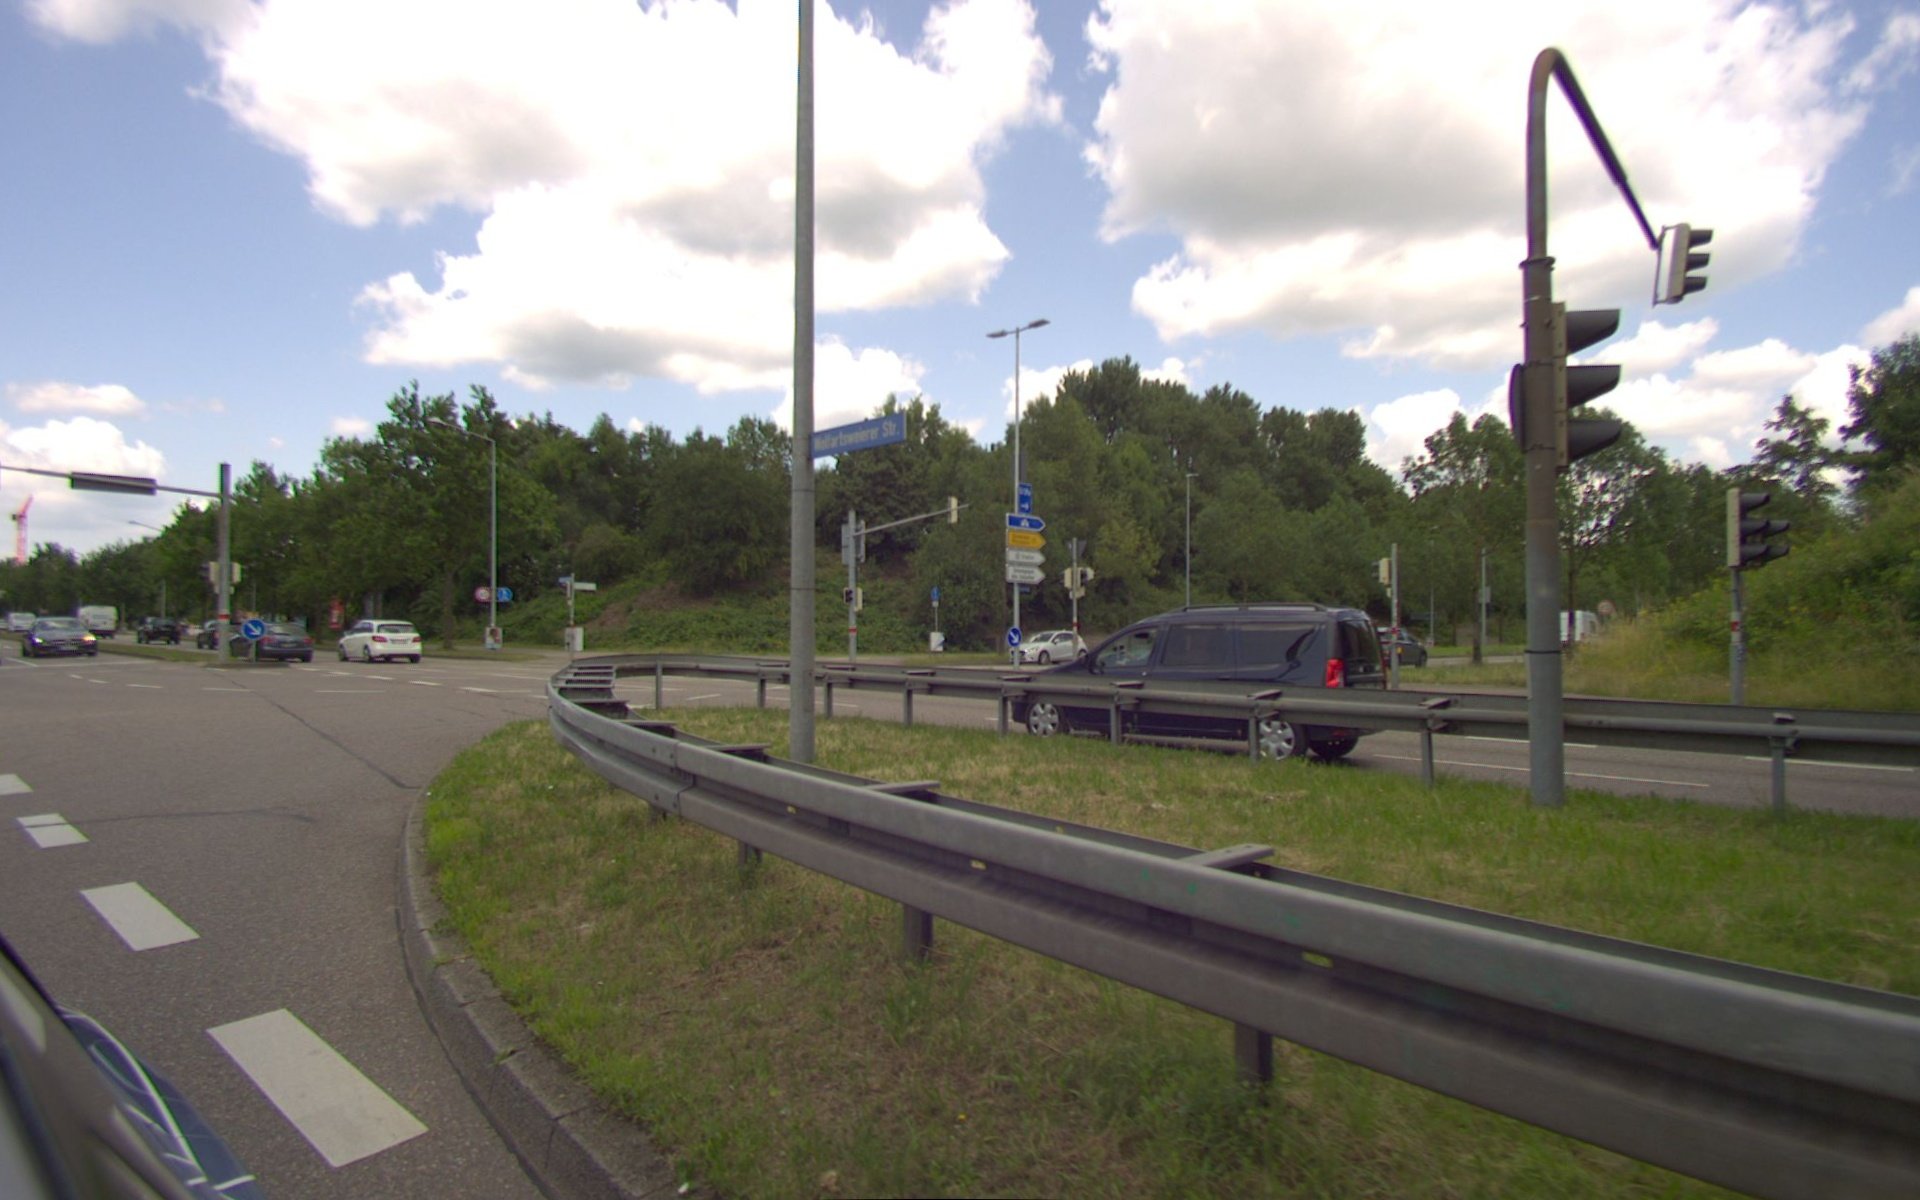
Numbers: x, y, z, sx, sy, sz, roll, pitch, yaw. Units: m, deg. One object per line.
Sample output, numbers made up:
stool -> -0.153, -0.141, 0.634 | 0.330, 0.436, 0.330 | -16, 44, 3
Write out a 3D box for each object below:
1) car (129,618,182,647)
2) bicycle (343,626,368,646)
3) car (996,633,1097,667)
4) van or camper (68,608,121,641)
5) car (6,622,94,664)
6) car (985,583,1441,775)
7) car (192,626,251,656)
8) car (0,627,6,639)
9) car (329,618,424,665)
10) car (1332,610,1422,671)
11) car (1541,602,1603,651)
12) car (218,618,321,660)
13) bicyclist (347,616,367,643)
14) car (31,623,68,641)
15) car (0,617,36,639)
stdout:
car -> -52.068, 2.115, 65.483 | 4.218, 1.780, 1.972 | -2, -3, 41
bicycle -> -40.508, 2.397, 67.790 | 2.393, 1.280, 0.813 | -1, -1, 43
car -> 3.766, 2.118, 43.751 | 4.256, 1.389, 2.003 | 2, -2, -42
van or camper -> -70.706, 1.992, 82.618 | 7.060, 2.559, 2.327 | -2, -1, 41
car -> -34.038, 1.563, 37.810 | 4.831, 1.426, 1.972 | -2, -1, 42
car -> 2.722, 0.796, 11.619 | 4.713, 1.772, 1.973 | -2, -2, 40
car -> -40.164, 2.232, 55.038 | 4.001, 1.541, 1.904 | -1, -2, 44
car -> -119.707, 4.024, 125.226 | 5.023, 1.442, 1.972 | -1, -2, 43
car -> -21.647, 1.521, 37.472 | 4.391, 1.644, 1.786 | -1, -2, 42
car -> 15.023, 1.433, 36.353 | 1.997, 2.029, 3.949 | -1, -2, 38
car -> 37.474, 1.632, 61.895 | 2.385, 2.843, 5.343 | -2, -2, 40
car -> -24.739, 1.370, 36.201 | 4.779, 1.400, 1.953 | -1, -3, 42
bicyclist -> -40.248, 1.978, 67.530 | 0.997, 1.760, 0.882 | -1, -1, 43
car -> -94.748, 3.315, 105.305 | 4.399, 1.815, 1.976 | -1, -2, 35
car -> -90.025, 2.686, 96.543 | 5.190, 1.979, 2.168 | -2, -3, 41
